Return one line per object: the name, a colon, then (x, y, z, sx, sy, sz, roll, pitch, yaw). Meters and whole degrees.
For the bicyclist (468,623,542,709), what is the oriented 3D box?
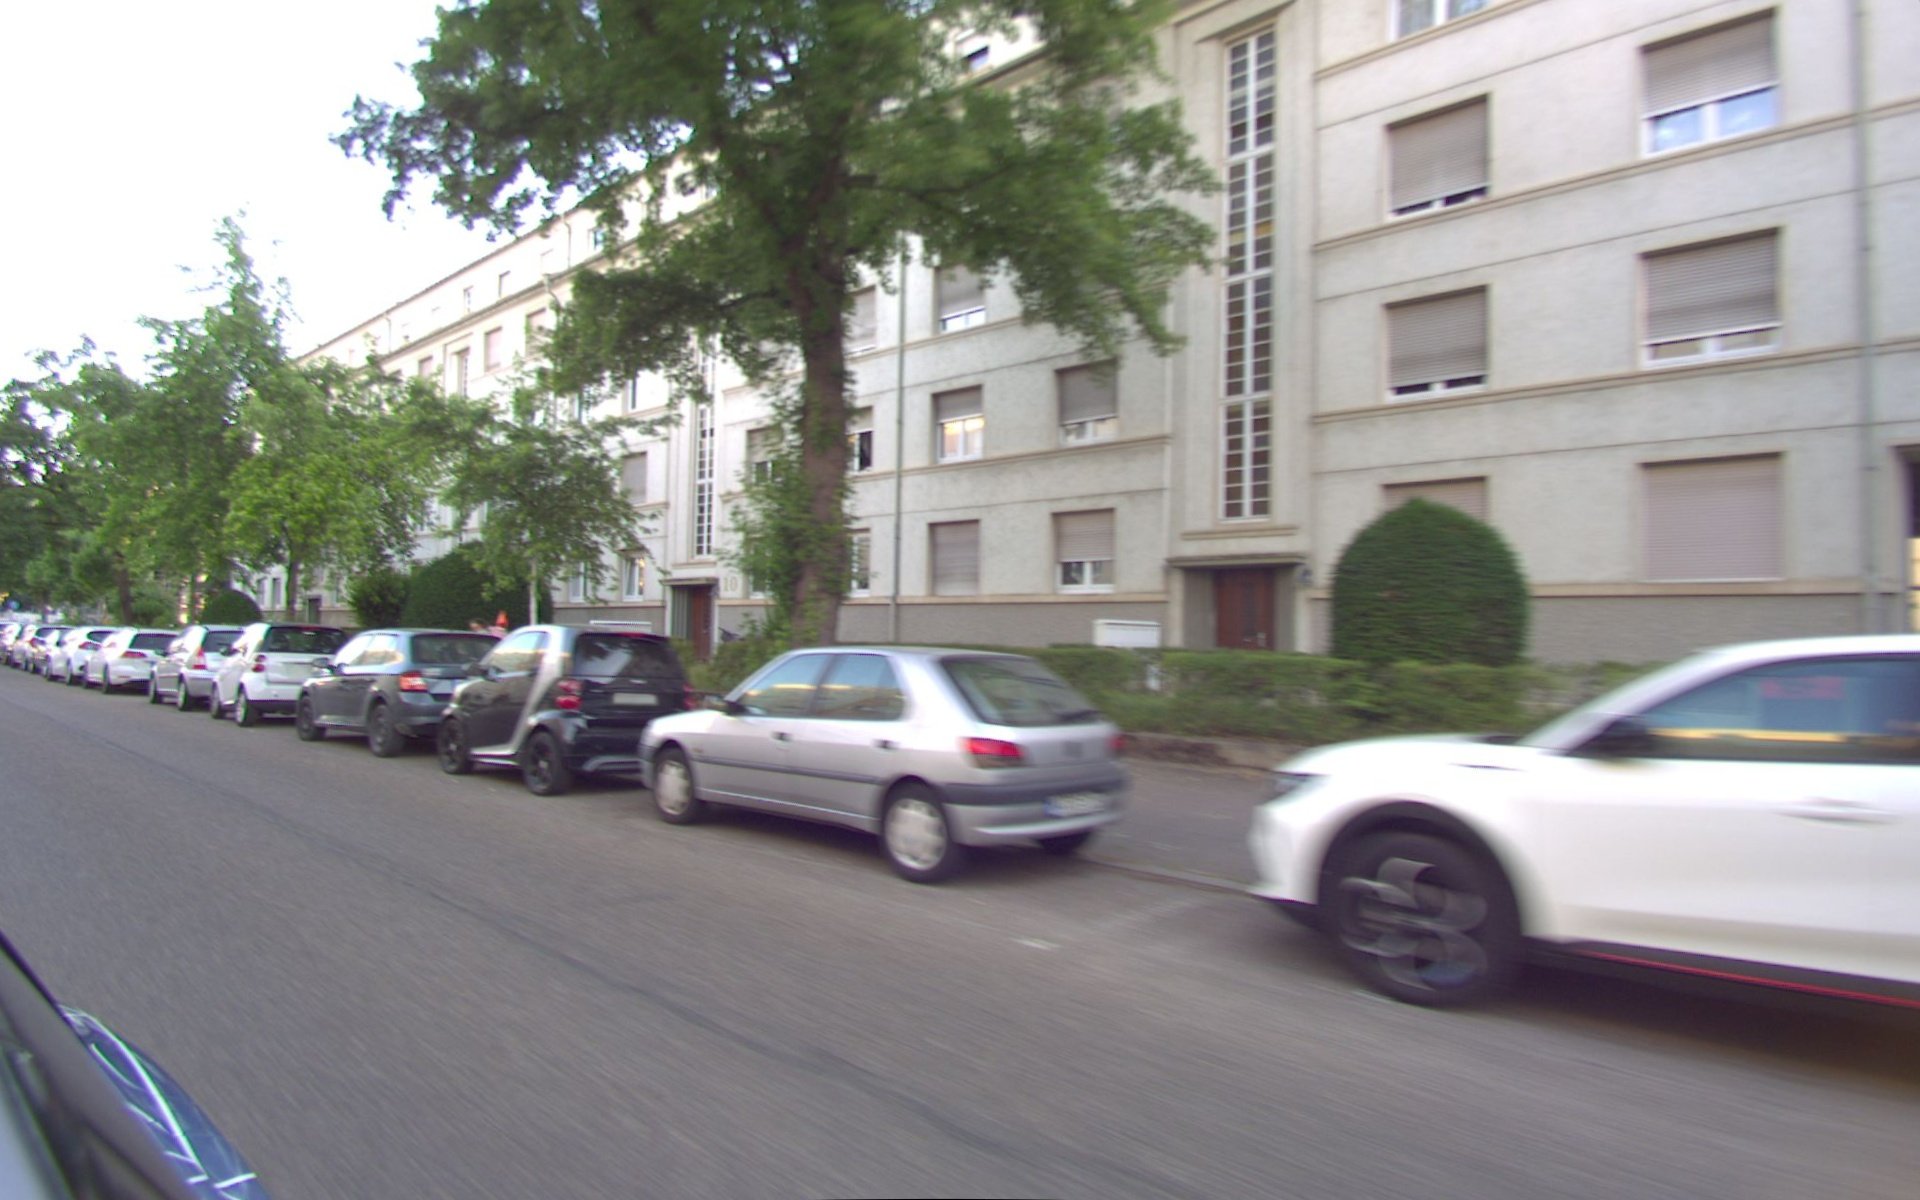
bicyclist: (-7.709, 1.095, 17.142, 0.973, 1.415, 0.799, -1, -2, 41)

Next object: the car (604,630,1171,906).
car: (-0.732, 0.994, 7.316, 4.179, 1.414, 1.573, -1, -6, 42)

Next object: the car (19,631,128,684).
car: (-25.866, 1.655, 29.474, 4.577, 1.342, 1.657, -1, -6, 41)

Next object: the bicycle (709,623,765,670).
bicycle: (-6.098, 1.252, 27.626, 1.817, 1.240, 0.550, -1, -3, 44)

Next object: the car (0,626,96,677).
car: (-29.455, 1.638, 32.639, 3.701, 1.471, 1.658, -1, -6, 39)

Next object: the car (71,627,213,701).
car: (-18.623, 1.421, 22.973, 4.481, 1.471, 1.674, -1, -6, 41)

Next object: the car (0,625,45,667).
car: (-37.228, 1.760, 39.535, 3.944, 1.491, 1.733, -1, -6, 43)

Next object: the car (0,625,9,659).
car: (-44.821, 1.838, 46.150, 4.223, 1.483, 1.733, -1, -6, 43)

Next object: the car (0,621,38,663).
car: (-40.516, 1.724, 42.721, 4.104, 1.644, 1.734, -1, -6, 40)

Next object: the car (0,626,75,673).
car: (-33.050, 1.714, 35.847, 4.675, 1.491, 1.735, -1, -6, 40)

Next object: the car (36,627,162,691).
car: (-22.185, 1.495, 26.033, 4.141, 1.471, 1.675, -1, -6, 40)

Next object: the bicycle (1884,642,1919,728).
bicycle: (14.090, 1.183, 14.181, 1.789, 1.181, 0.629, 1, -2, -6)

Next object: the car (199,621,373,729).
car: (-10.694, 1.165, 16.004, 2.922, 1.541, 1.572, -1, -6, 44)

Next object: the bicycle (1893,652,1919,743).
bicycle: (13.436, 1.292, 13.389, 1.787, 1.181, 0.629, 1, -2, -11)

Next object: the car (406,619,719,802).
car: (-4.047, 1.019, 10.149, 3.162, 1.541, 1.507, -1, -6, 40)

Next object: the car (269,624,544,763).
car: (-7.100, 1.108, 12.824, 4.098, 1.477, 1.574, -1, -6, 40)

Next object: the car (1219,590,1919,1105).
car: (3.291, 0.817, 3.806, 4.202, 1.550, 1.574, -1, -6, 39)

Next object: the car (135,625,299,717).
car: (-13.880, 1.287, 18.835, 3.797, 1.516, 1.573, -1, -6, 41)

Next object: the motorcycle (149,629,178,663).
motorcycle: (-32.458, 1.850, 41.239, 1.828, 1.335, 0.580, -1, -3, 42)
